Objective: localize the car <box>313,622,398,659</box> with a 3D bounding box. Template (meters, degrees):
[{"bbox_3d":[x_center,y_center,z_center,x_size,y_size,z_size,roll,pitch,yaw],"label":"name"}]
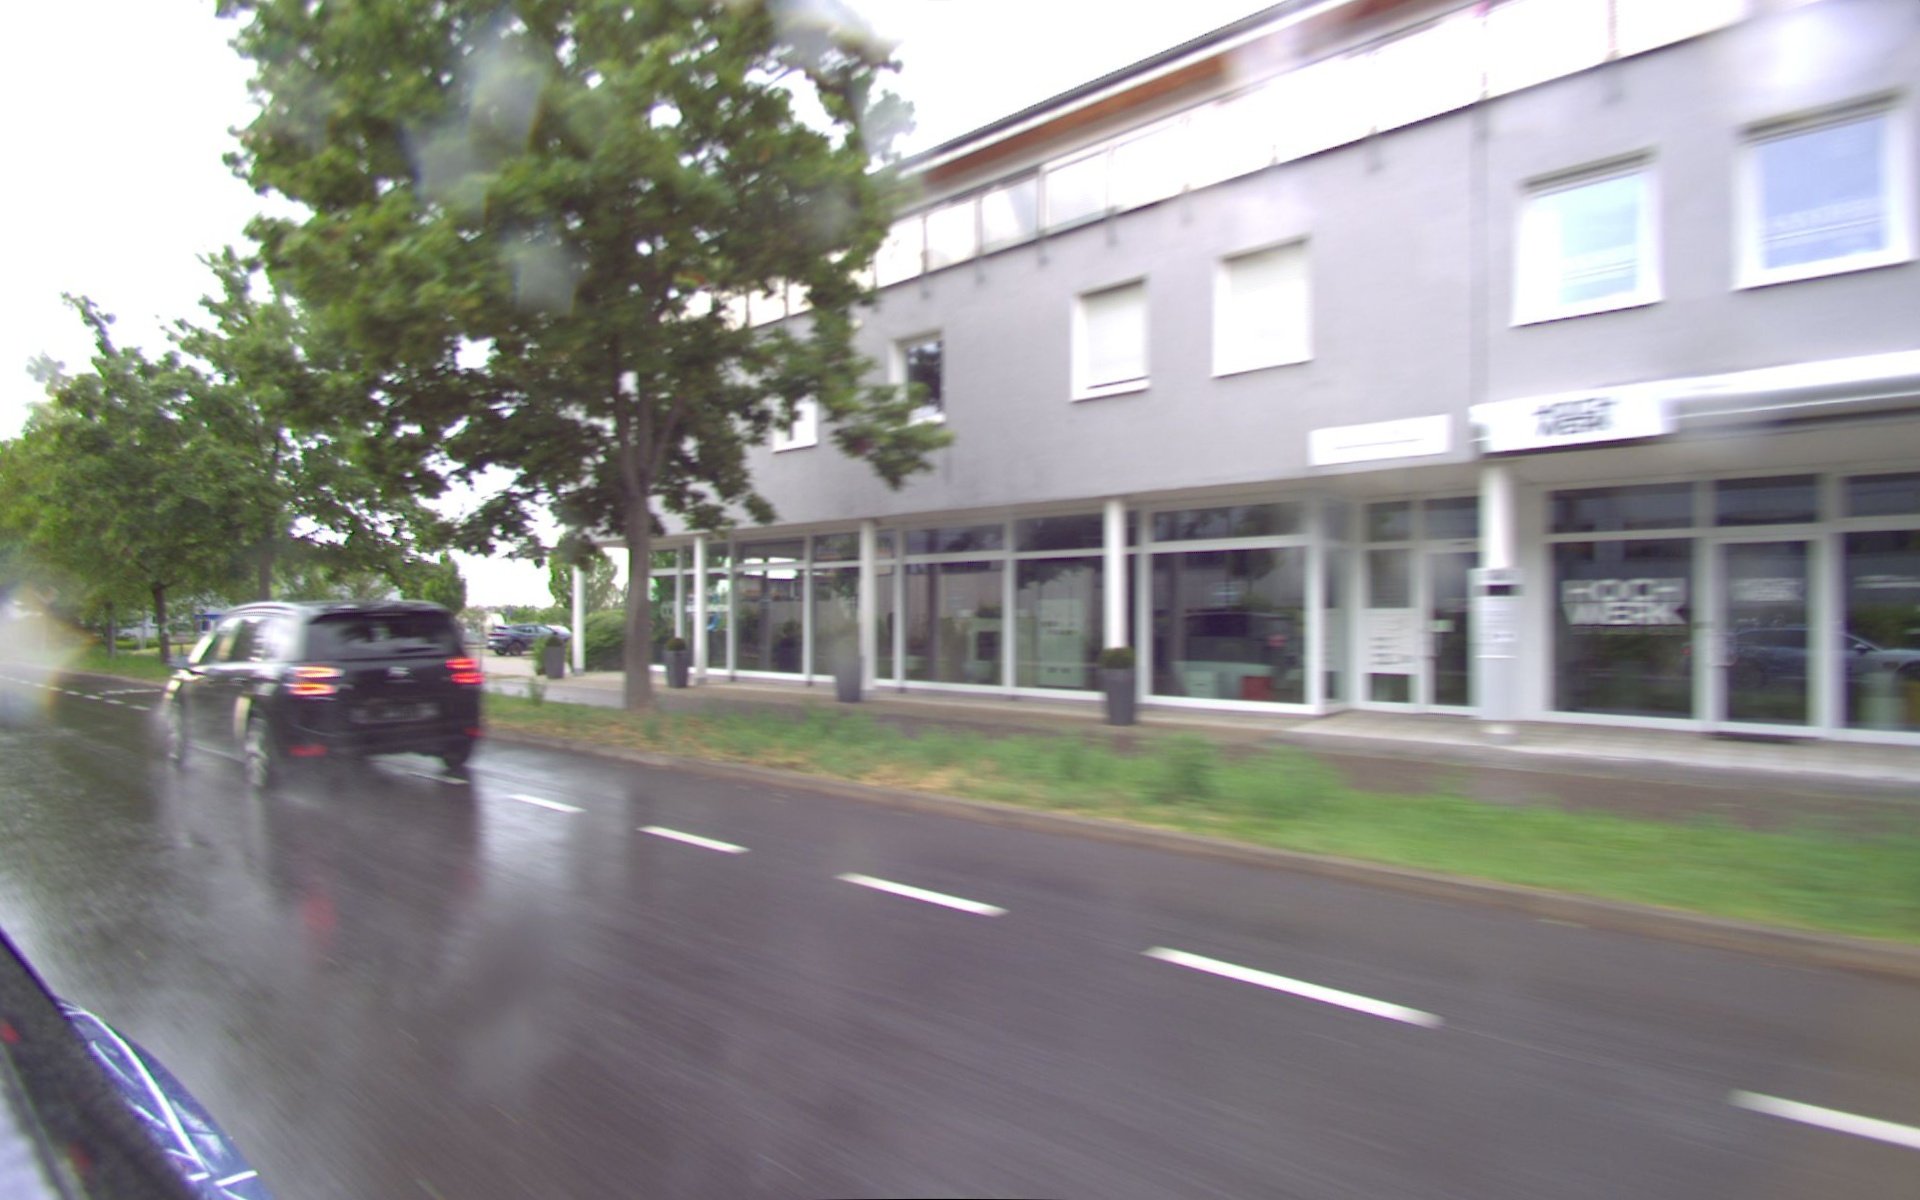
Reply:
[{"bbox_3d":[-31.979,2.165,53.448,5.601,1.836,2.014,-3,-2,38],"label":"car"}]

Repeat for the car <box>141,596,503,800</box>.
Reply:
[{"bbox_3d":[-6.415,0.828,9.943,4.500,1.566,1.831,-3,-2,42],"label":"car"}]
